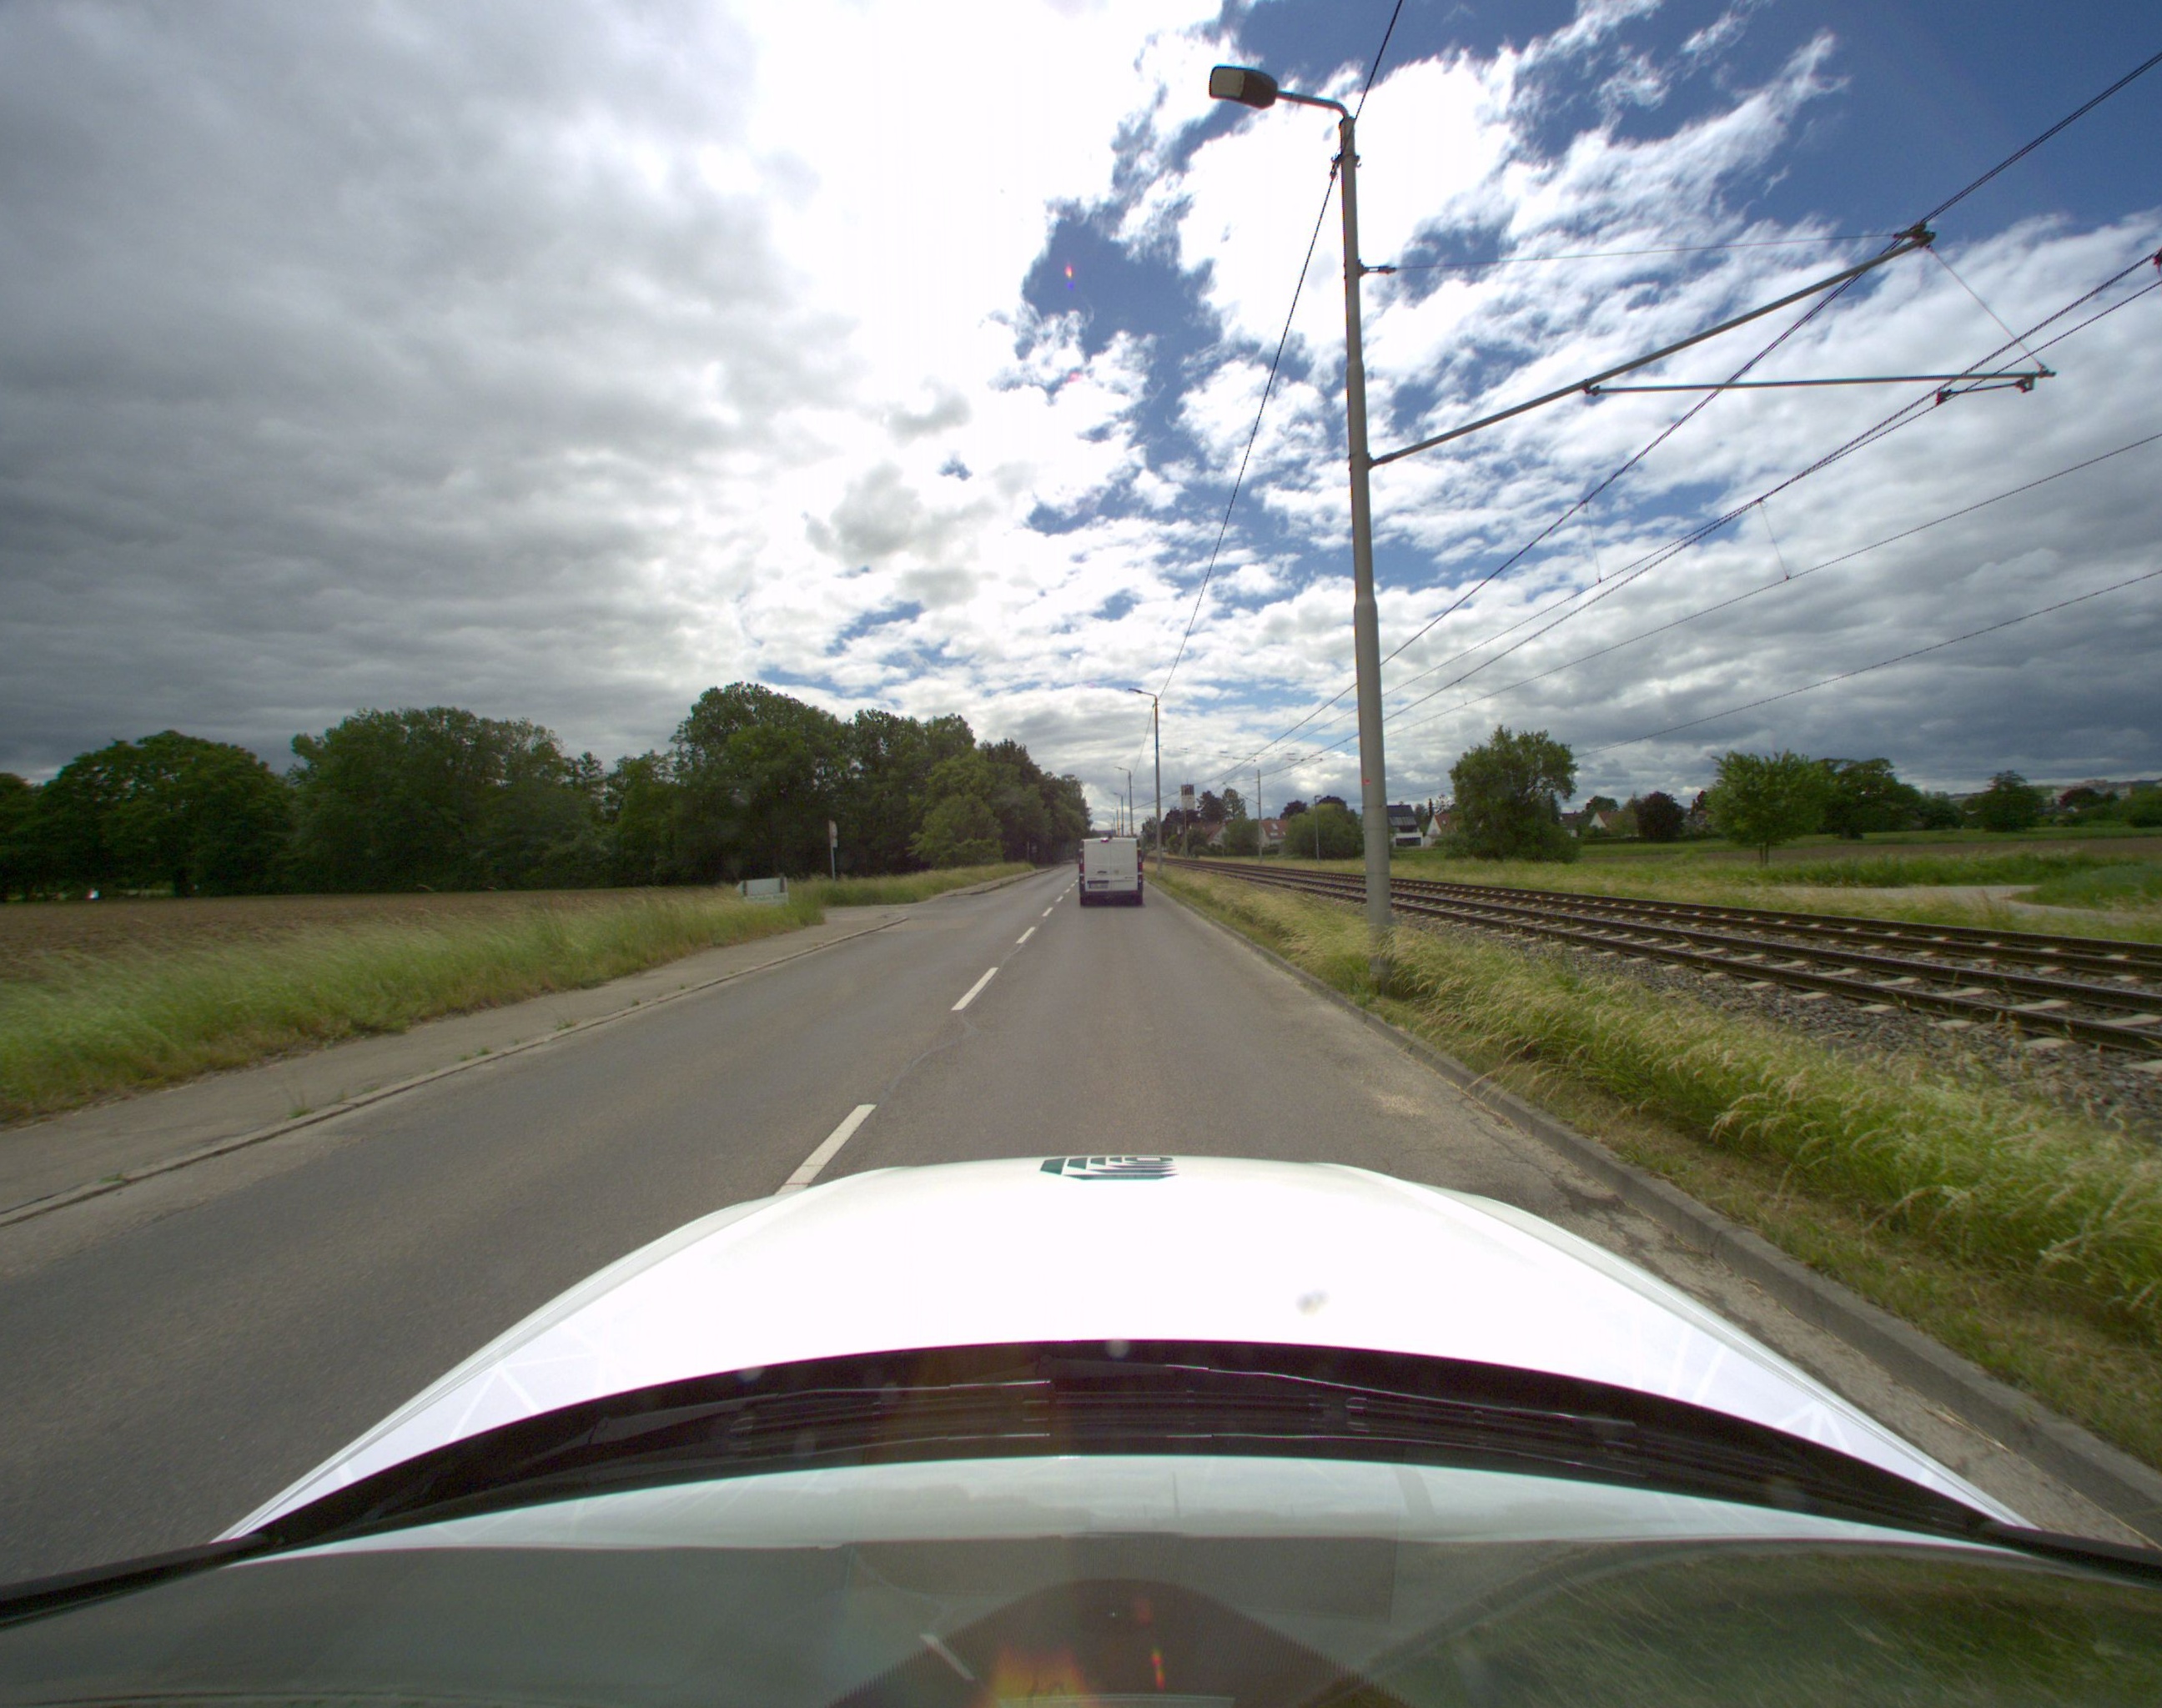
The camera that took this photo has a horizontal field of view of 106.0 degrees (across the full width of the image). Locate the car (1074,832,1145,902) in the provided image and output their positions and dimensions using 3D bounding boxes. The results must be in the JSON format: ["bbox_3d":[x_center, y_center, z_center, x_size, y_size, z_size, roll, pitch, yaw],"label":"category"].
[{"bbox_3d":[0.813,0.367,24.840,1.987,1.957,4.000,-1,0,0],"label":"car"}]

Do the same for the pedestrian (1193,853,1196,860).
[{"bbox_3d":[23.985,0.525,171.583,0.524,1.506,0.657,-2,0,1],"label":"pedestrian"}]

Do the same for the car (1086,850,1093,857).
[{"bbox_3d":[2.429,-0.121,234.770,1.986,1.717,4.126,-2,0,2],"label":"car"}]

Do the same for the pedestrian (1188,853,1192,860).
[{"bbox_3d":[23.217,0.448,173.713,0.654,1.506,0.656,-2,0,0],"label":"pedestrian"}]
